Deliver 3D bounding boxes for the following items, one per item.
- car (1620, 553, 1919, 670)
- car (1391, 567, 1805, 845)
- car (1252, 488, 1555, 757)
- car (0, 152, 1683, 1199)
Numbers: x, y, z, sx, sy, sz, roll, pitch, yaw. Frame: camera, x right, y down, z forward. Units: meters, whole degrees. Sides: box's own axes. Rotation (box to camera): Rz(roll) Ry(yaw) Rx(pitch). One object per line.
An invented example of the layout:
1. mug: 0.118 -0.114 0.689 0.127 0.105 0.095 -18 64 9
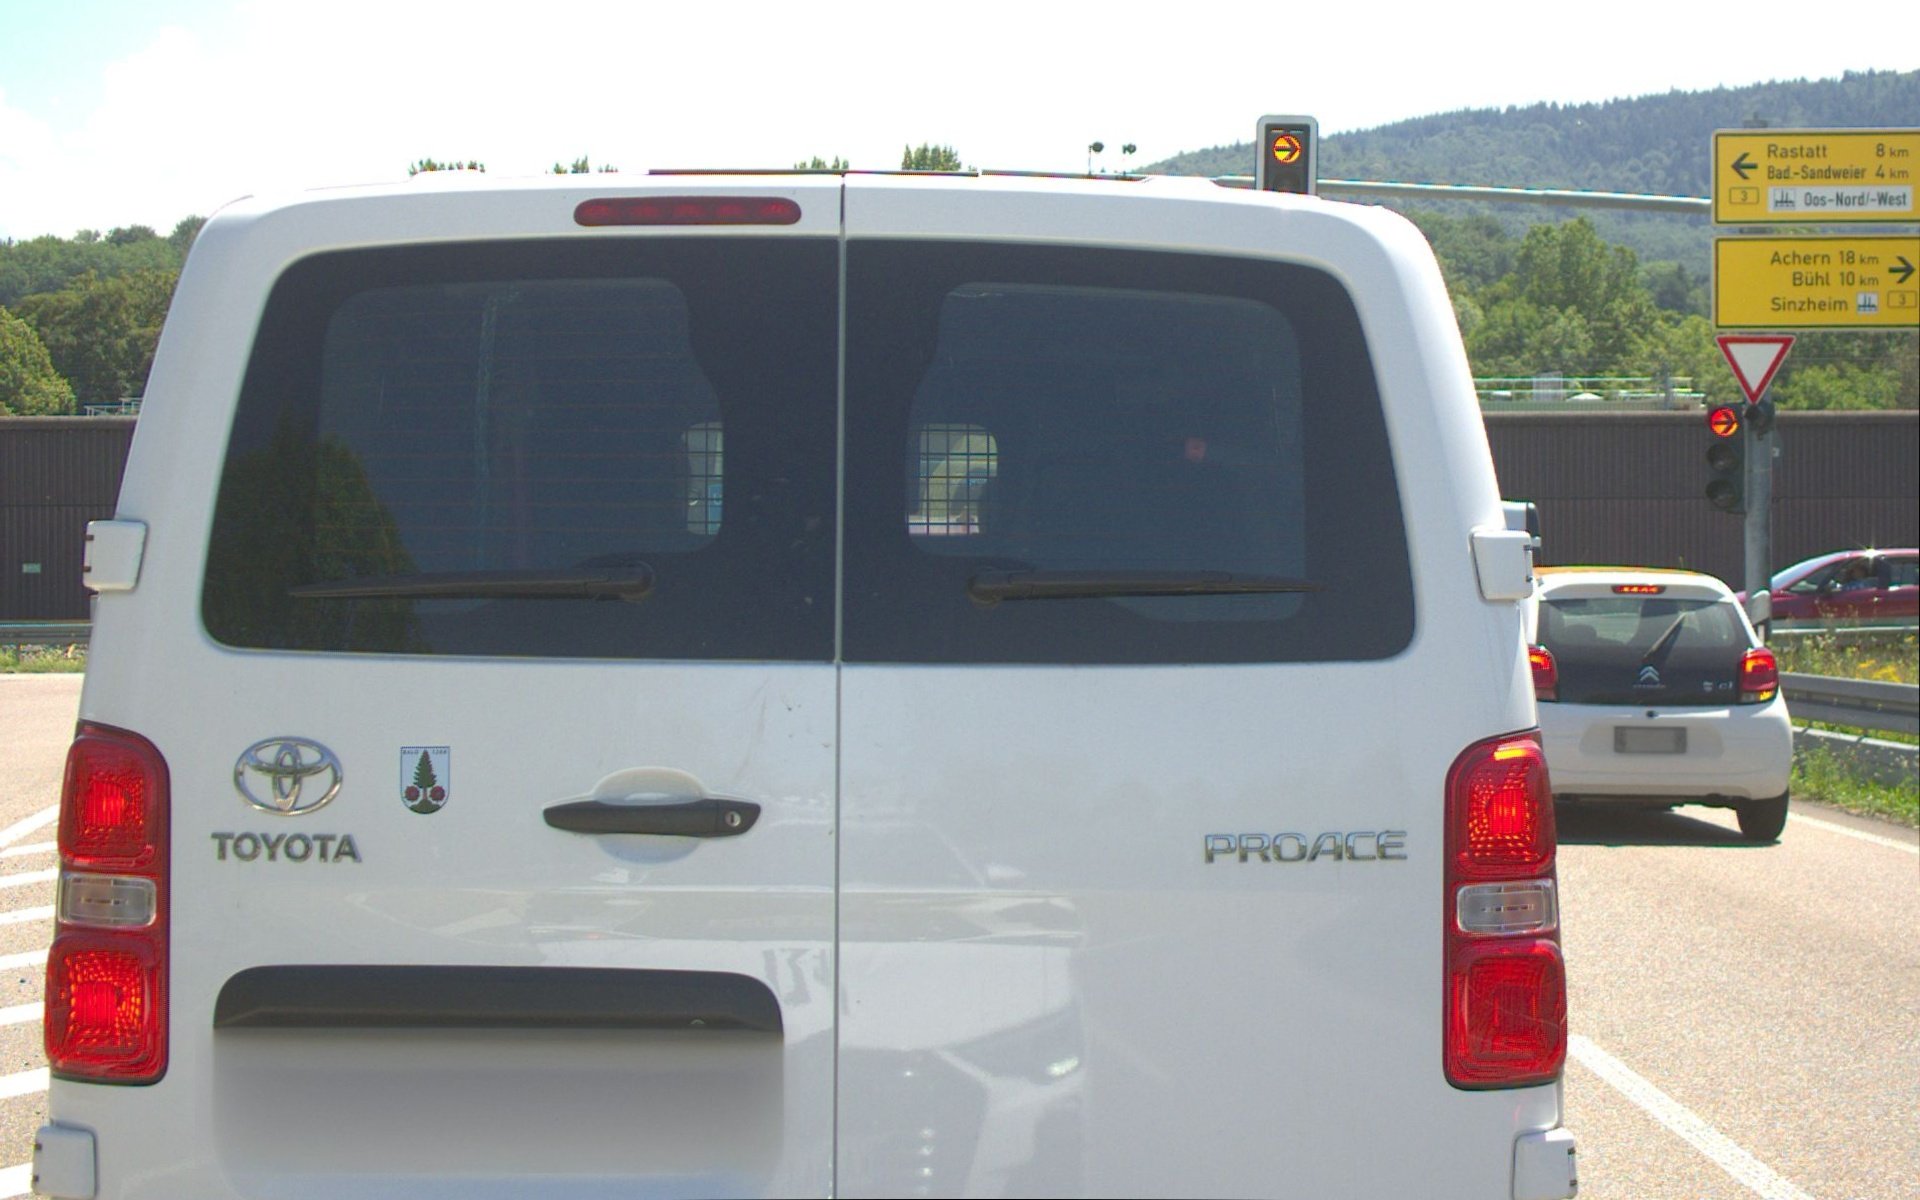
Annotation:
1. car: 11.955 0.148 49.843 4.309 1.651 2.000 0 1 -3
2. car: 3.539 0.537 19.609 1.656 1.426 3.366 1 1 -1
3. car: 3.531 0.141 28.220 1.928 1.993 4.837 1 1 1
4. car: -0.219 0.452 5.676 1.886 1.880 4.000 1 1 -1
